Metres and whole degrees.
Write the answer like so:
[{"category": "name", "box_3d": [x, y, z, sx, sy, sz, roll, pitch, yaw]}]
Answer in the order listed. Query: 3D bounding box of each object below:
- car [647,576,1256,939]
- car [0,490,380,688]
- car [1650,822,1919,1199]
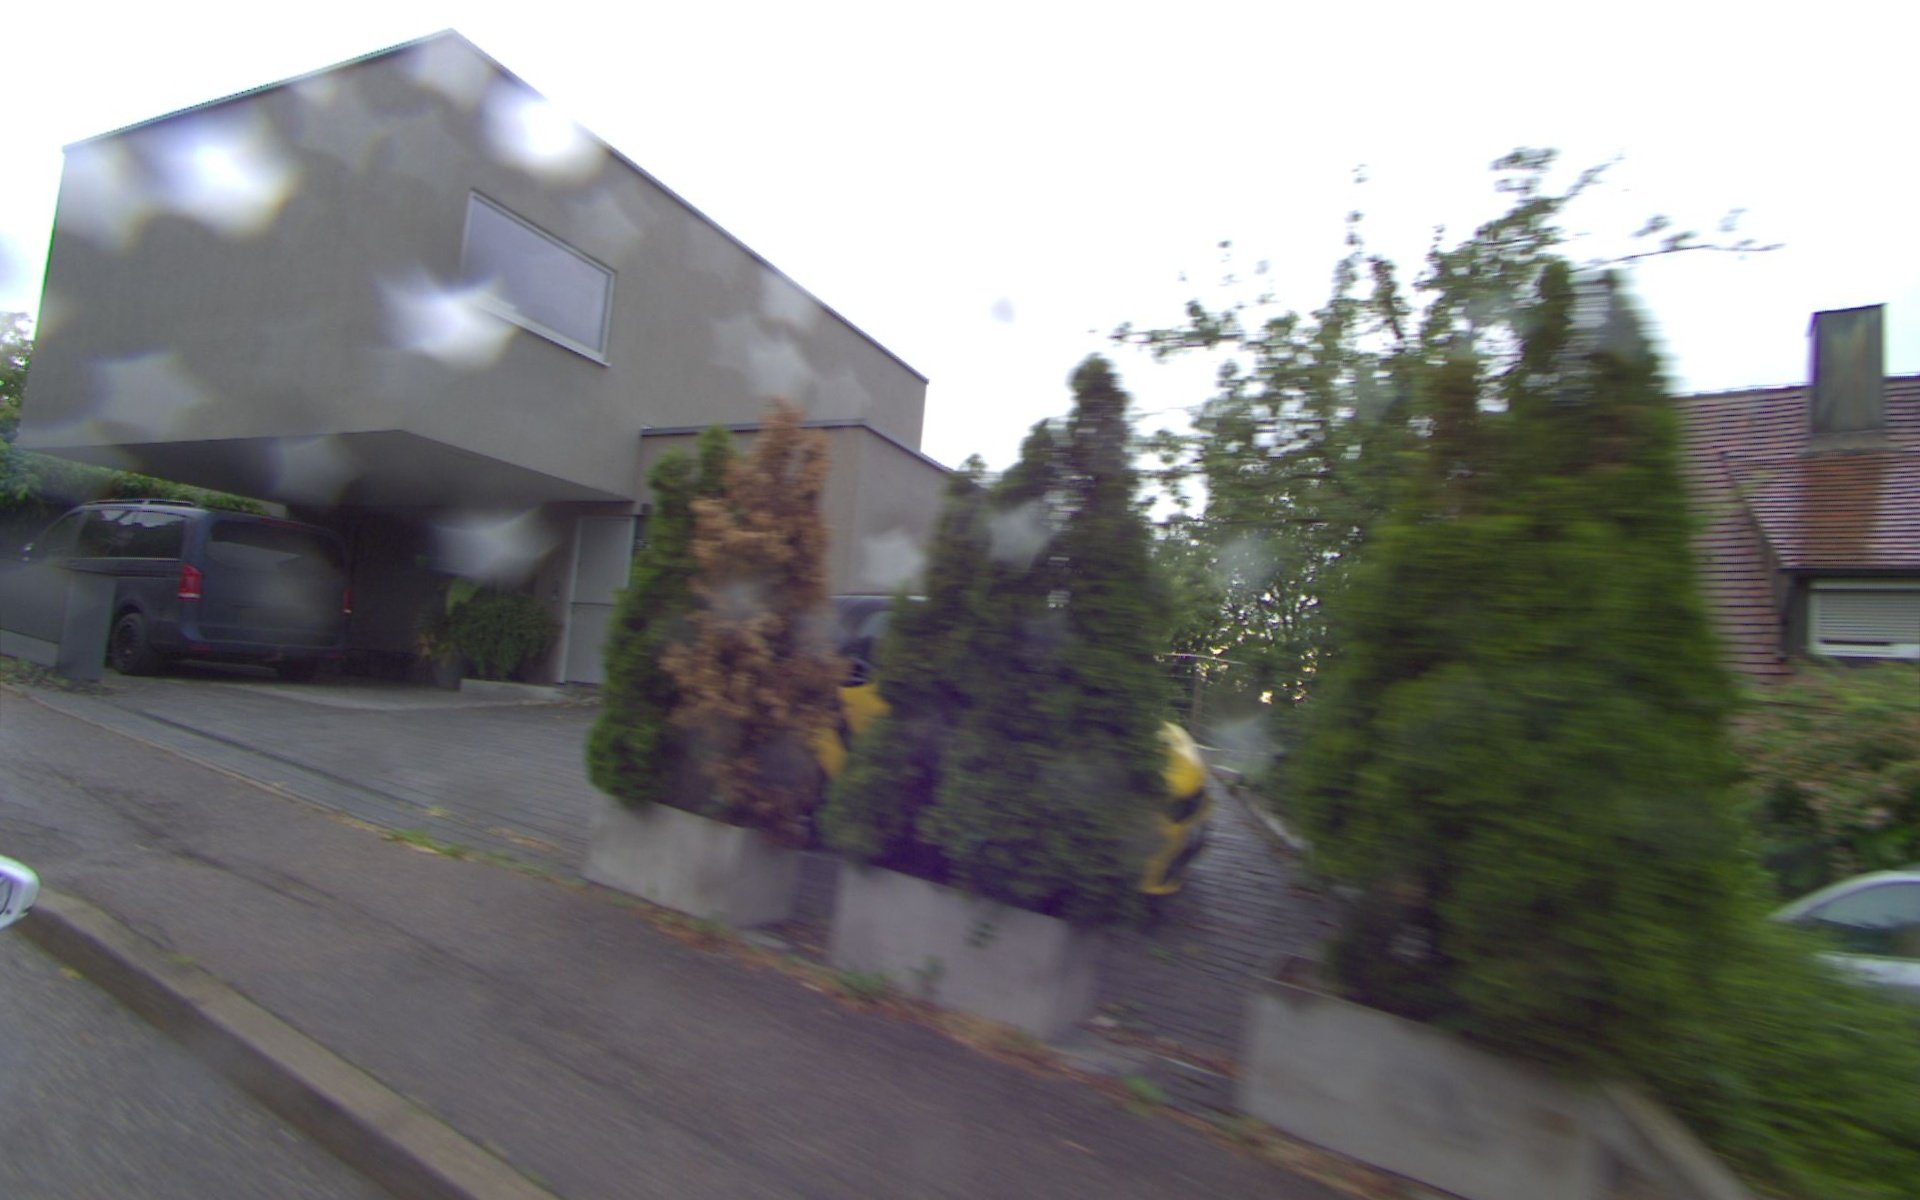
[{"category": "car", "box_3d": [-0.060, 0.757, 6.330, 3.365, 1.514, 1.629, 6, 3, 25]}, {"category": "car", "box_3d": [-9.542, -0.155, 12.135, 4.690, 1.962, 2.000, 3, -4, 26]}, {"category": "car", "box_3d": [5.326, 2.112, 4.861, 1.742, 1.675, 3.790, 4, -9, 7]}]
